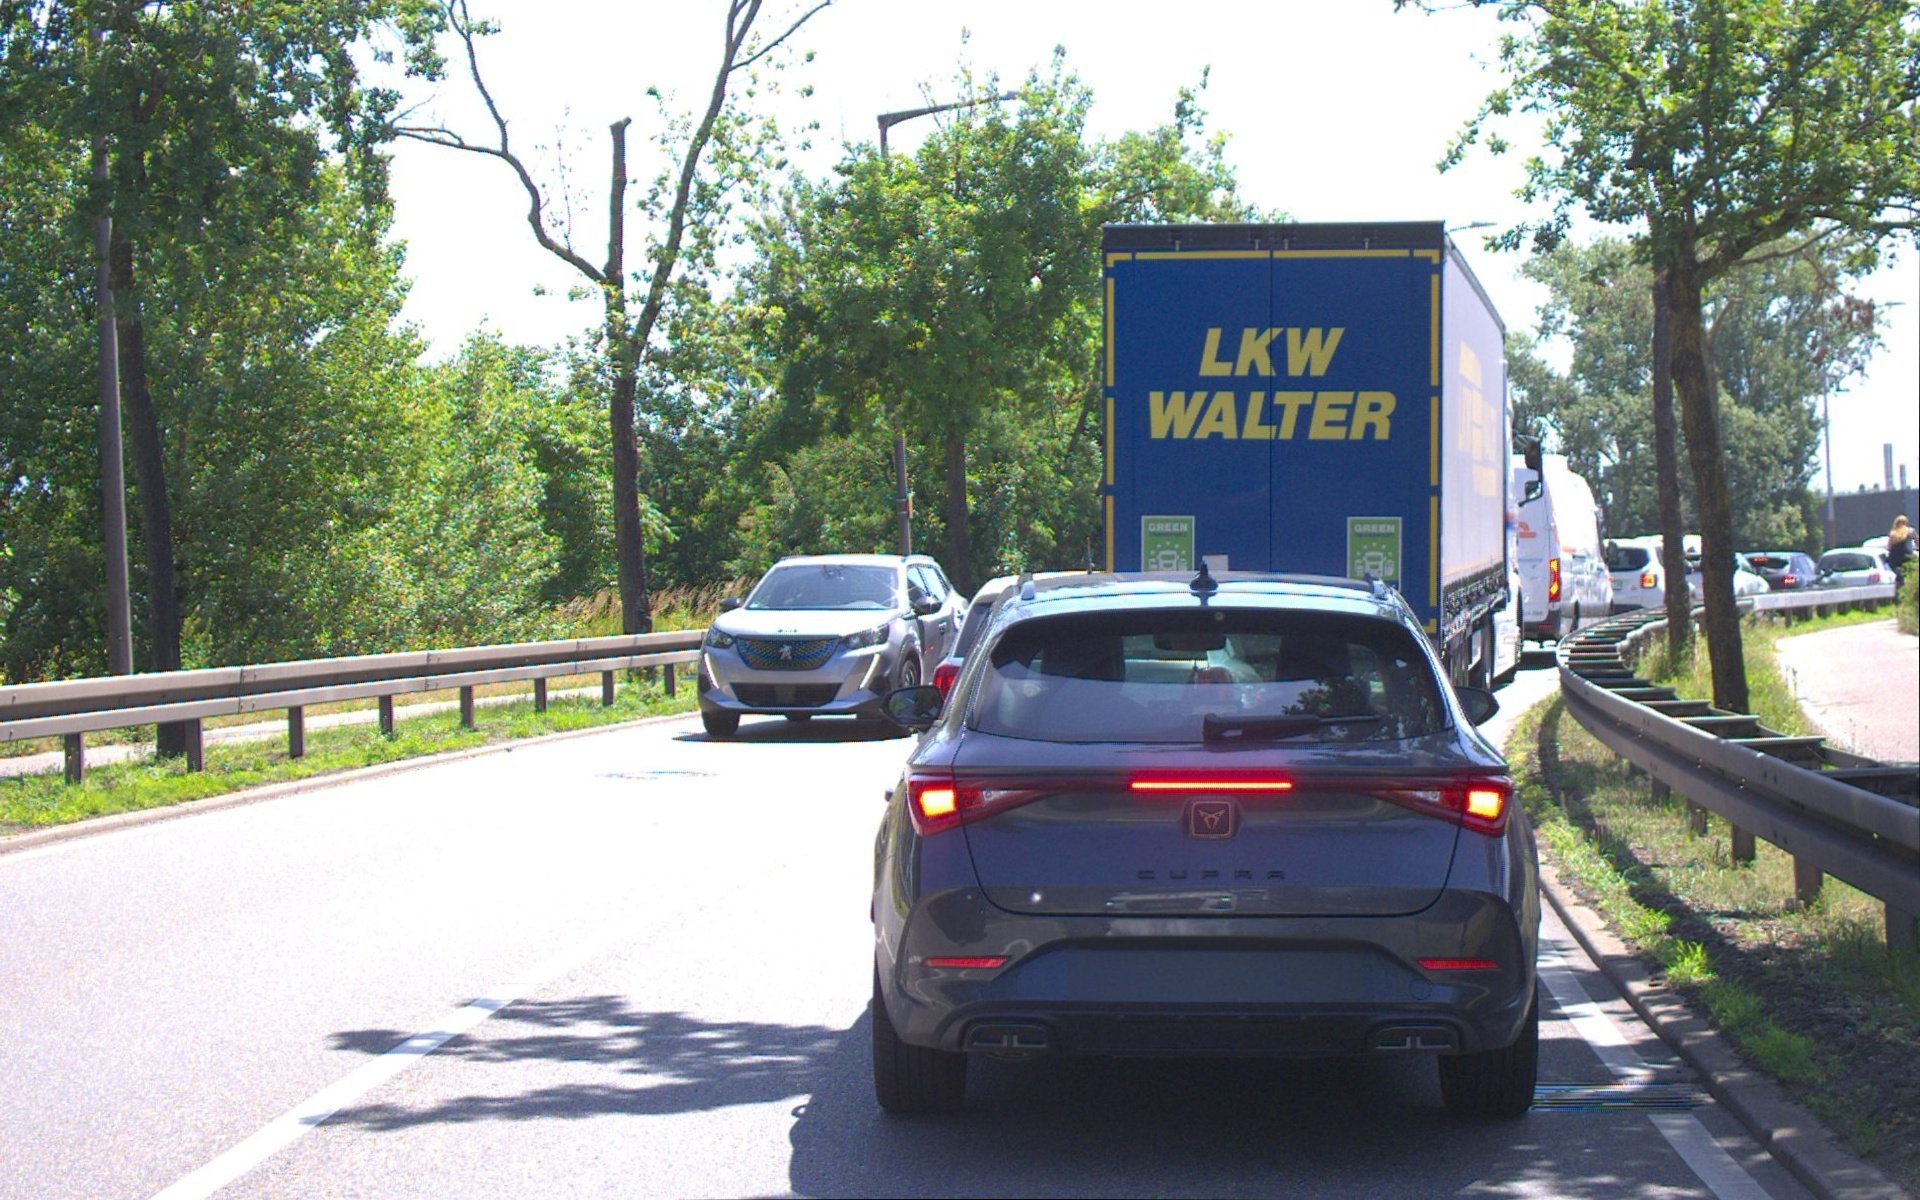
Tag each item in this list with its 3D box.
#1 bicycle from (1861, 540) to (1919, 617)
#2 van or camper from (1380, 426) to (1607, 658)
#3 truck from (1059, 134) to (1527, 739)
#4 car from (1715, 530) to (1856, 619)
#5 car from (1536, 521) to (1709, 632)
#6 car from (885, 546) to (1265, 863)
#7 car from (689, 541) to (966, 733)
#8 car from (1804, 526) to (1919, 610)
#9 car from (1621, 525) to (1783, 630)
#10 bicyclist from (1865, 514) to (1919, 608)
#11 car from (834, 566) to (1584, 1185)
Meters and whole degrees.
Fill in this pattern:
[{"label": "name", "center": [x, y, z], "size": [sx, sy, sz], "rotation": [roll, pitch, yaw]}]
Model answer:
[{"label": "bicycle", "center": [15.269, -0.353, 56.050], "size": [0.861, 1.232, 2.307], "rotation": [1, 1, 21]}, {"label": "van or camper", "center": [7.470, -0.788, 47.569], "size": [2.468, 2.988, 6.082], "rotation": [1, 1, 15]}, {"label": "truck", "center": [3.802, -1.297, 33.714], "size": [2.951, 4.433, 16.790], "rotation": [1, 1, 11]}, {"label": "car", "center": [16.521, -0.520, 68.623], "size": [1.996, 1.711, 4.863], "rotation": [1, 1, 22]}, {"label": "car", "center": [10.739, -0.394, 55.521], "size": [1.995, 1.706, 4.615], "rotation": [1, 1, 20]}, {"label": "car", "center": [0.707, 0.474, 18.482], "size": [1.809, 1.503, 3.999], "rotation": [0, 1, 5]}, {"label": "car", "center": [-1.083, 0.276, 30.066], "size": [1.750, 1.550, 4.125], "rotation": [1, 1, 7]}, {"label": "car", "center": [19.778, -0.691, 74.644], "size": [1.996, 1.762, 4.748], "rotation": [1, 1, 24]}, {"label": "car", "center": [13.392, -0.418, 61.843], "size": [1.996, 1.802, 4.840], "rotation": [1, 1, 22]}, {"label": "bicyclist", "center": [15.250, -0.639, 56.001], "size": [0.861, 1.518, 0.979], "rotation": [1, 1, 23]}, {"label": "car", "center": [0.659, 0.623, 10.006], "size": [1.744, 1.427, 3.880], "rotation": [0, 1, 2]}]
